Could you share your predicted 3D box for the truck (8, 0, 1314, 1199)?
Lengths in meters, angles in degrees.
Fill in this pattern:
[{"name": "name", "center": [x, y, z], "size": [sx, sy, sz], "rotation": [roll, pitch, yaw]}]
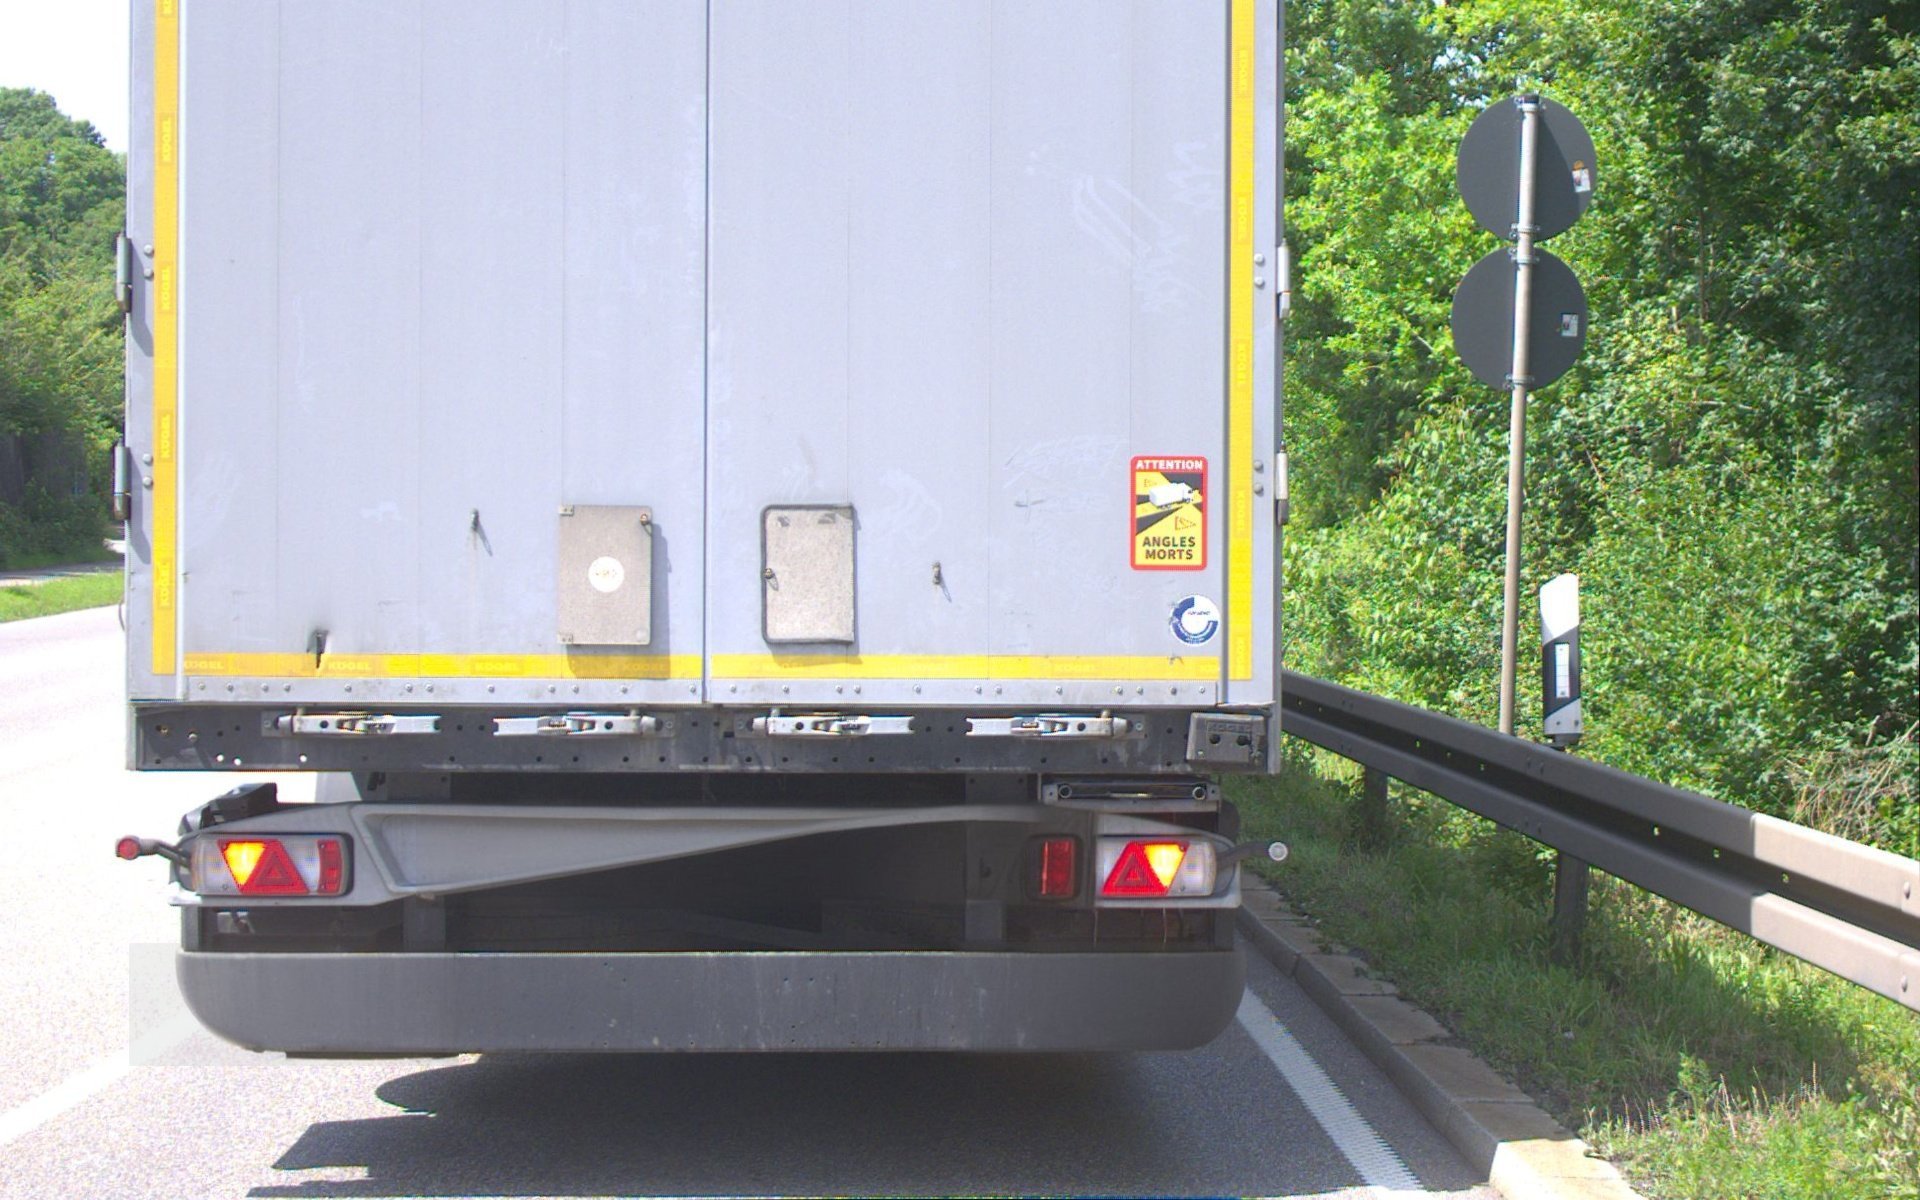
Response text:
[{"name": "truck", "center": [-0.769, -0.860, 13.278], "size": [2.757, 4.016, 11.925], "rotation": [1, 1, -1]}]
